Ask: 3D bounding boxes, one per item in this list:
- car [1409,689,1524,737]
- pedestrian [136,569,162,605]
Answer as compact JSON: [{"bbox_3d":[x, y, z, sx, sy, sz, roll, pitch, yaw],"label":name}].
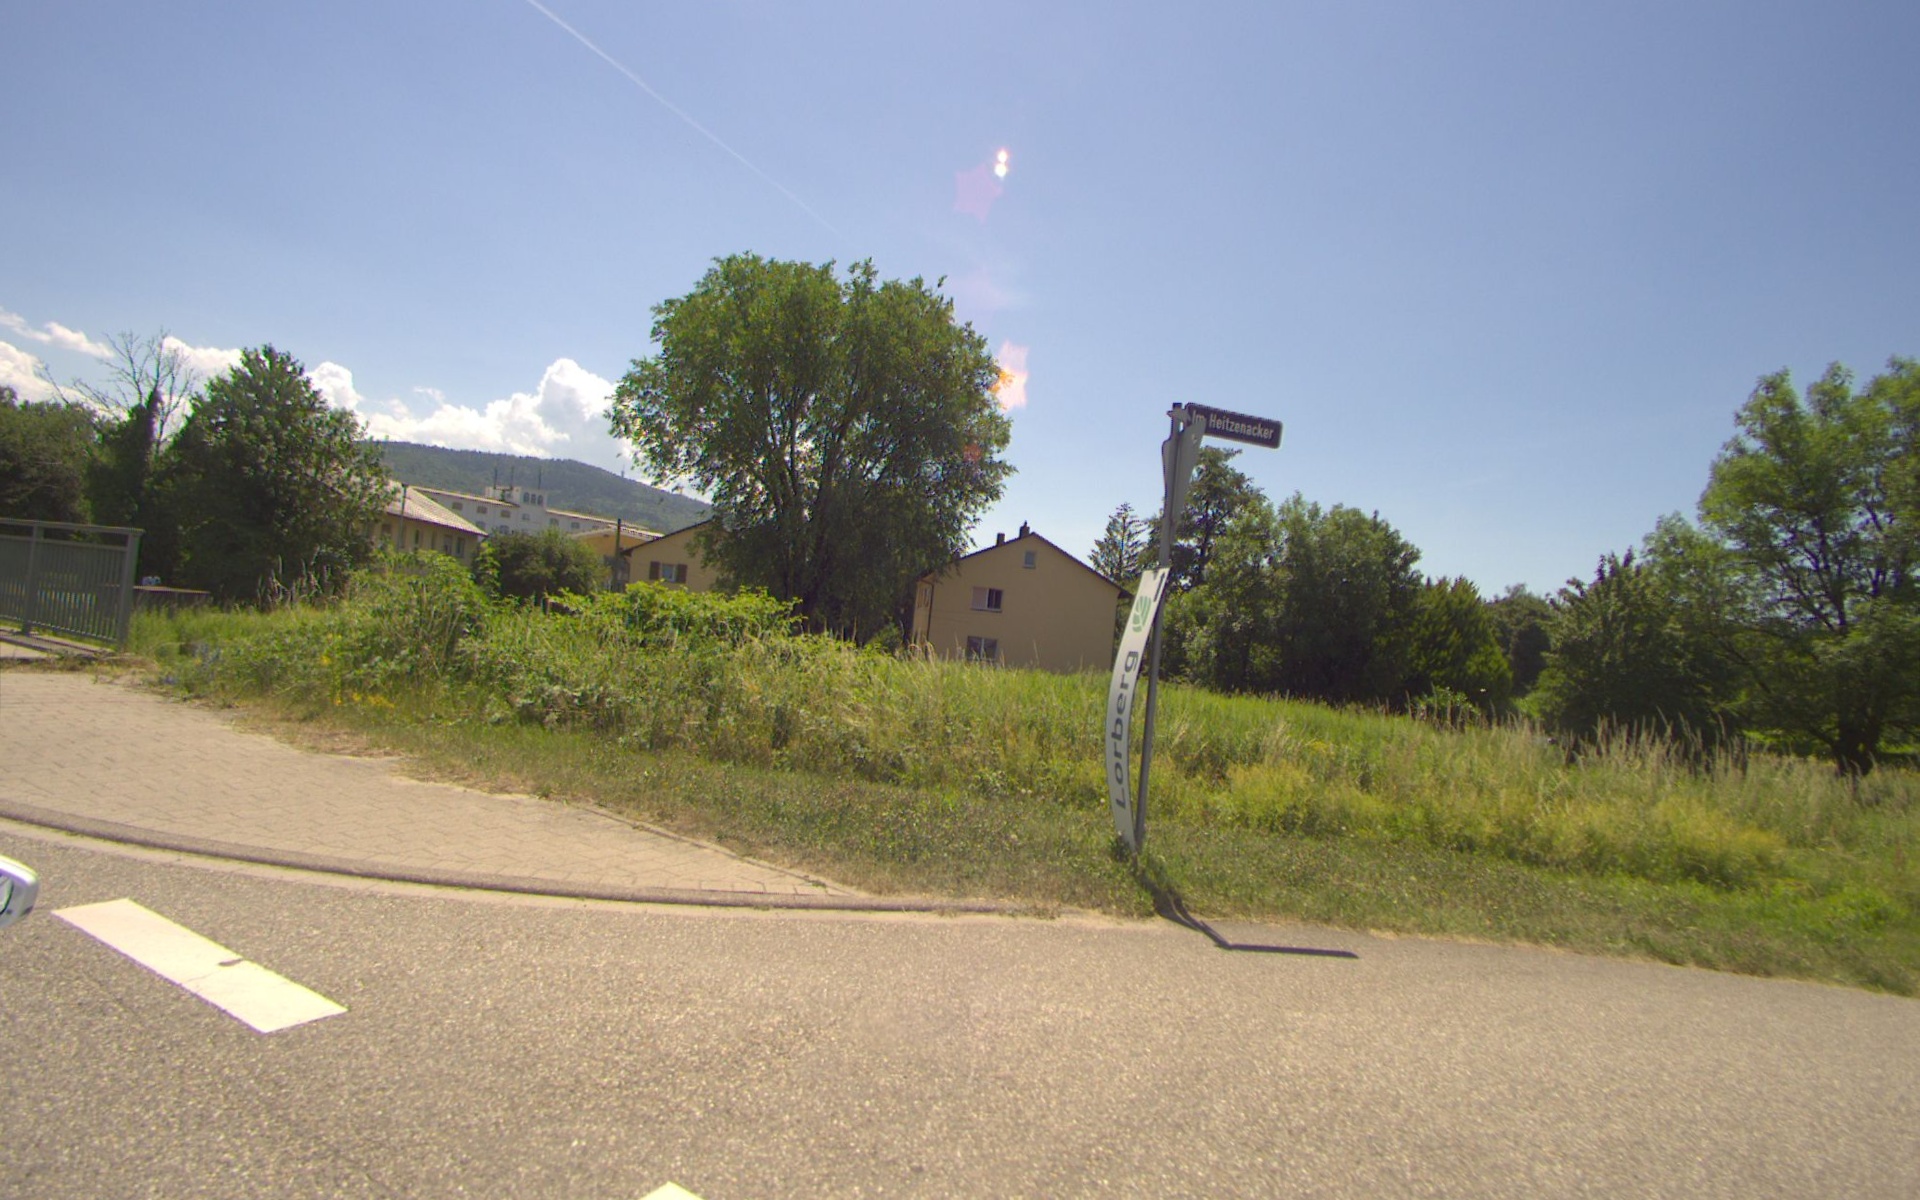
[{"bbox_3d":[24.116,5.355,47.998,4.434,1.643,1.998,7,-1,-7],"label":"car"},{"bbox_3d":[-34.311,-0.563,42.549,0.838,1.411,0.679,9,3,43],"label":"pedestrian"}]
